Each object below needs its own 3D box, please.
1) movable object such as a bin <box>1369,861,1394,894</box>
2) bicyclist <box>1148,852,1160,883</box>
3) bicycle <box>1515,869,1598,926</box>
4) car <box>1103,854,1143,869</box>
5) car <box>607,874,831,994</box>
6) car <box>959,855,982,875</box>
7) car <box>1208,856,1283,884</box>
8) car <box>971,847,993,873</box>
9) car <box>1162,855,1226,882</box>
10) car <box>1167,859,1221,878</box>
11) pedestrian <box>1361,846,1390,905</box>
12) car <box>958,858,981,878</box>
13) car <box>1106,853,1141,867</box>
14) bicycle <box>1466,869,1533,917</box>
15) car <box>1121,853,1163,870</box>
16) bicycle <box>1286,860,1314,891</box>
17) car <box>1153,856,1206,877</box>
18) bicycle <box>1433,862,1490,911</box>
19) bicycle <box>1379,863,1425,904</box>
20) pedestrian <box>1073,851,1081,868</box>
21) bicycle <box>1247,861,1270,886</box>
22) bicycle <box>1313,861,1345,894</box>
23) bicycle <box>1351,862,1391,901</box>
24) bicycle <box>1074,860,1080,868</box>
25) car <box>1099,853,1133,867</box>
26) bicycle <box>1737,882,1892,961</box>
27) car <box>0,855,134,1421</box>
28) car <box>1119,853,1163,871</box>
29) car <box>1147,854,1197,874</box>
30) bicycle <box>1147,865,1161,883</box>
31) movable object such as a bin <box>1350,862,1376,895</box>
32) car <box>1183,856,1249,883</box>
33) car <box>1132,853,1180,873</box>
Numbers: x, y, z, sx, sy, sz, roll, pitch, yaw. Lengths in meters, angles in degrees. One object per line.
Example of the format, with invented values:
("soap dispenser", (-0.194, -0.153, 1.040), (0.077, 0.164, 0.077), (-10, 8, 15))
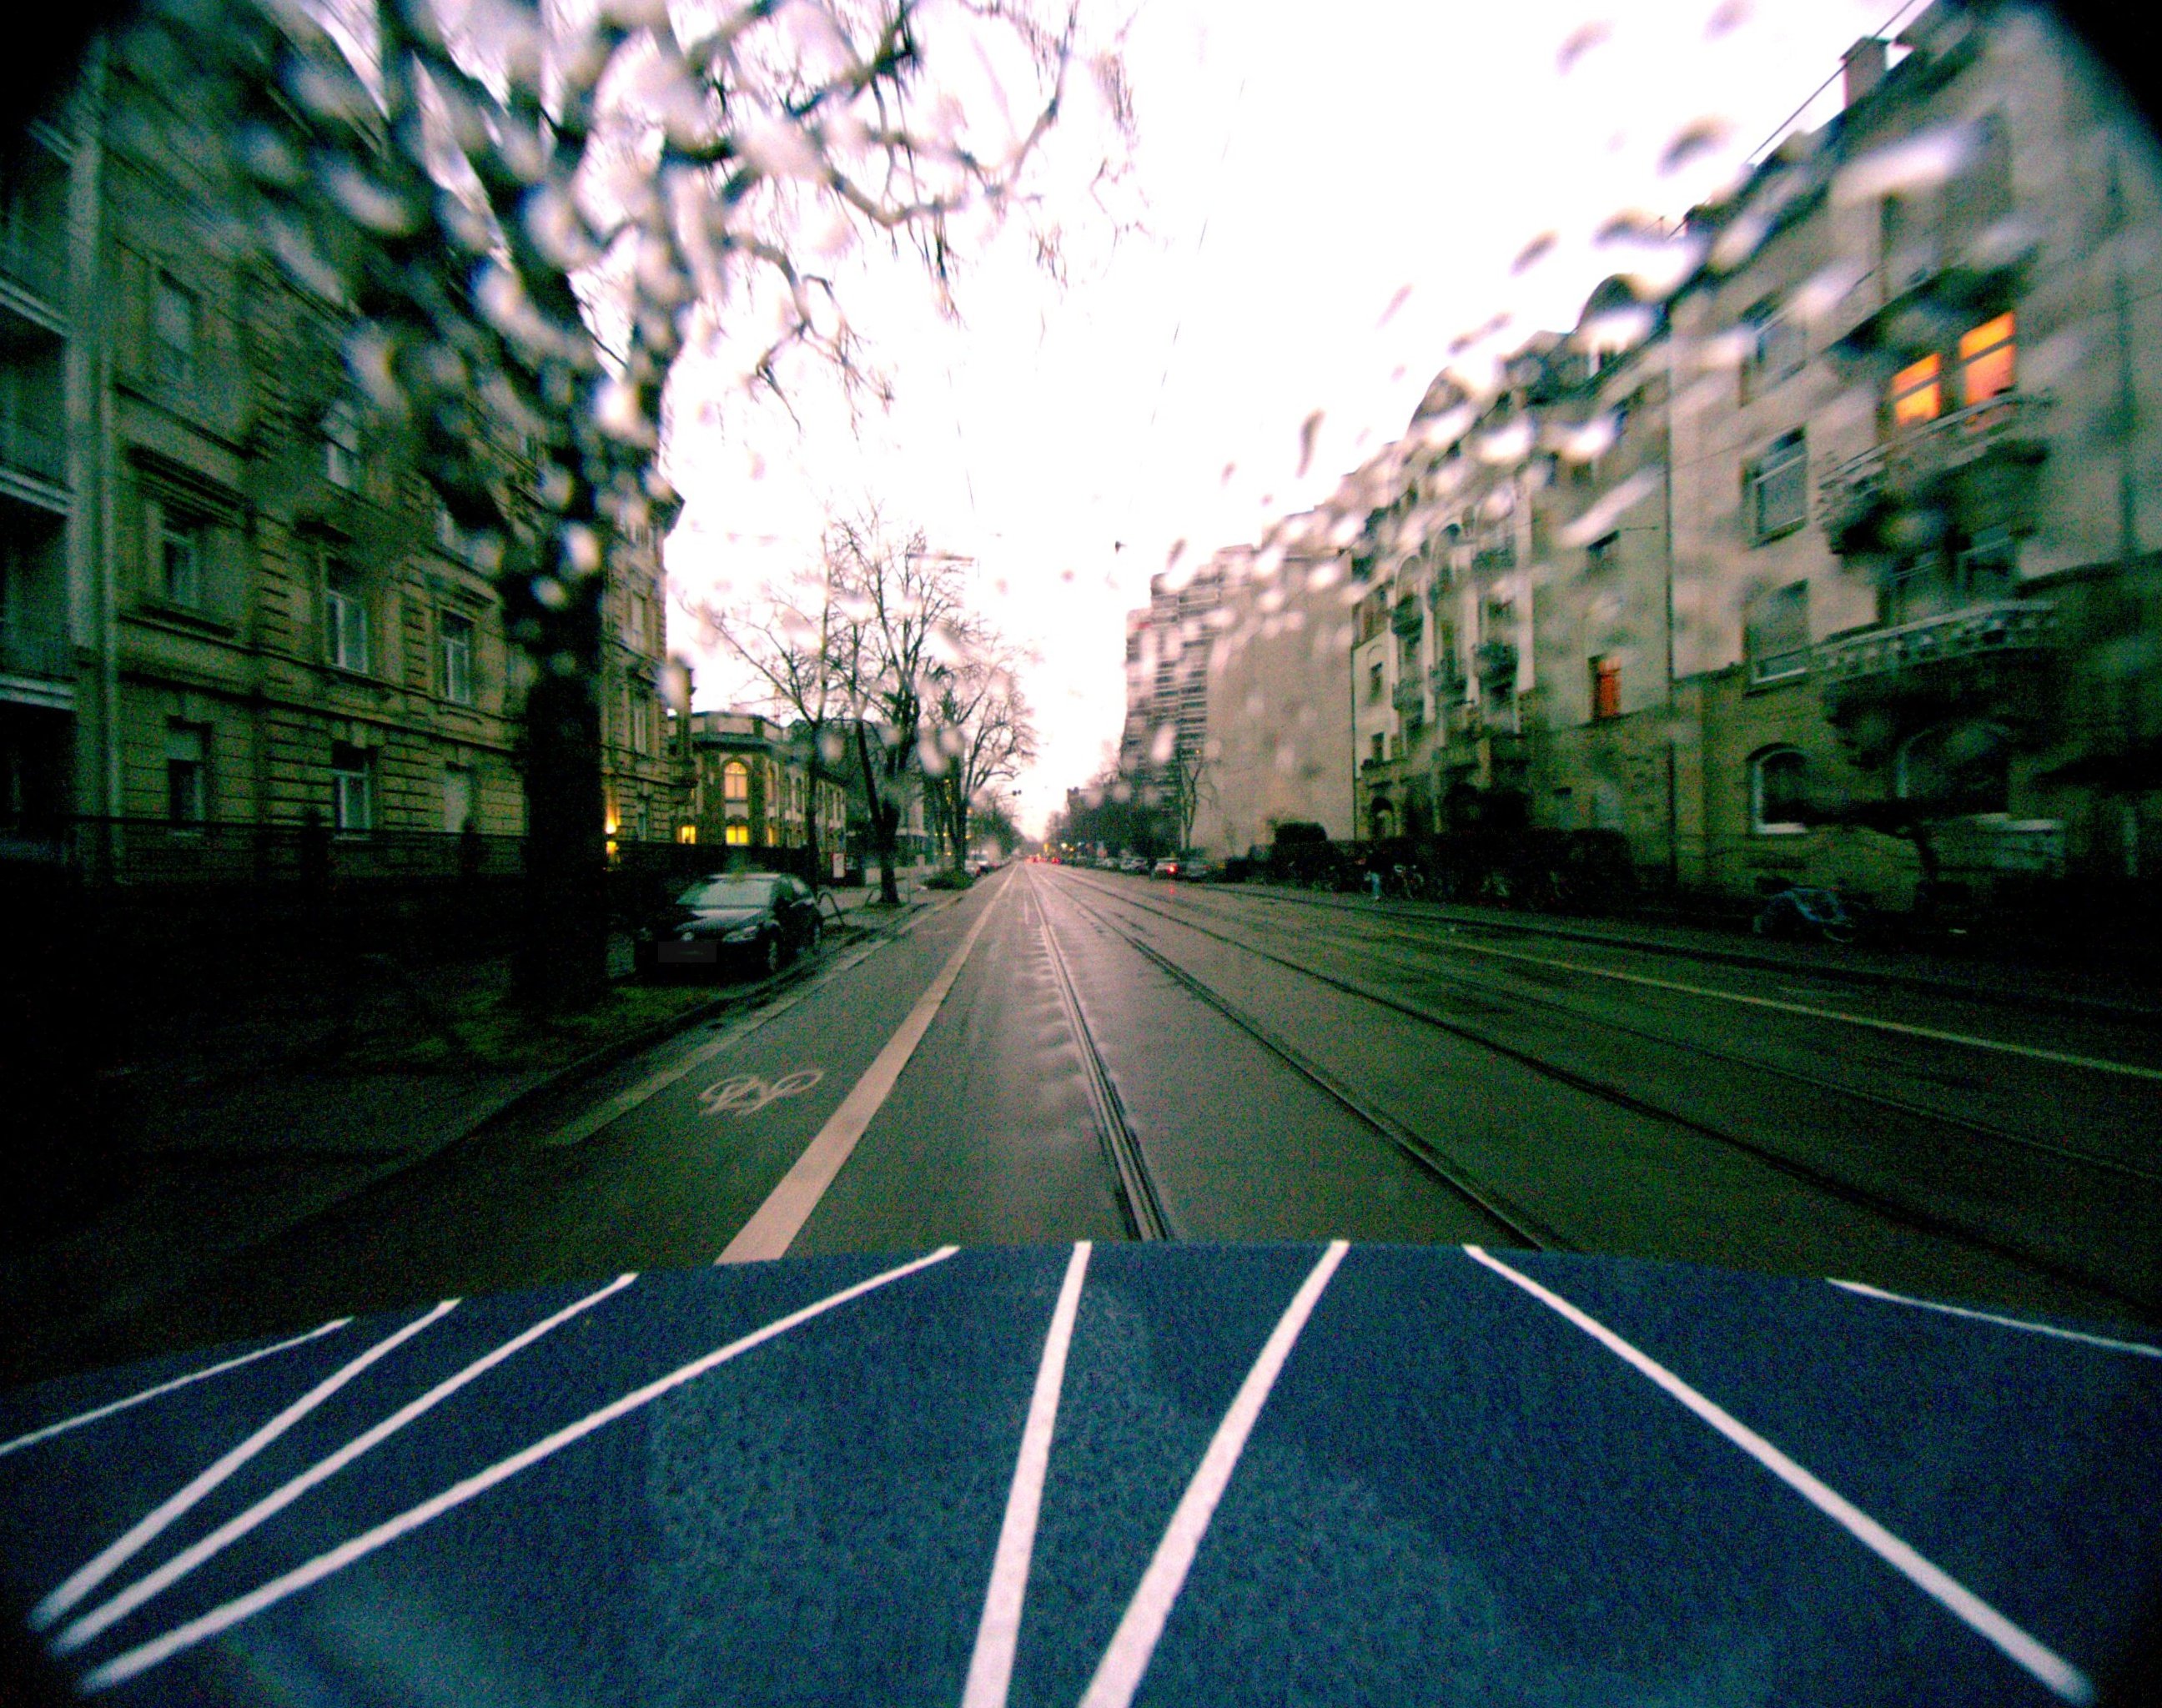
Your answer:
("movable object such as a bin", (10.835, 0.848, 27.381), (0.625, 1.157, 0.674), (-1, 0, -2))
("bicyclist", (4.461, 0.807, 46.405), (0.625, 1.865, 0.991), (-1, 0, -2))
("bicycle", (10.178, 0.907, 16.352), (0.625, 1.119, 1.783), (-1, 0, -2))
("car", (4.438, 0.785, 80.523), (4.008, 1.586, 1.864), (-1, 0, -41))
("car", (-5.253, 1.070, 11.705), (1.763, 1.437, 4.156), (1, -1, -5))
("car", (-10.045, 0.986, 69.393), (2.000, 1.672, 3.997), (-2, 1, -7))
("car", (9.408, 0.896, 43.426), (4.007, 1.485, 1.864), (-1, 0, -33))
("car", (-10.329, 0.600, 79.317), (2.094, 2.622, 5.445), (-2, 1, -7))
("car", (7.314, 0.892, 48.870), (4.008, 1.586, 1.864), (-1, 0, -41))
("car", (7.817, 0.964, 52.272), (3.674, 1.245, 1.707), (0, 0, -42))
("pedestrian", (8.740, 0.633, 22.571), (0.574, 1.715, 0.644), (-2, 2, 0))
("car", (-8.678, 1.082, 59.427), (1.629, 1.399, 3.997), (-2, 1, -7))
("car", (5.116, 0.730, 91.961), (4.008, 1.586, 1.864), (-1, 0, -41))
("bicycle", (10.115, 0.924, 18.413), (0.625, 1.059, 1.726), (-1, 0, -2))
("car", (6.081, 0.707, 75.492), (4.008, 1.586, 1.864), (-1, 0, -41))
("bicycle", (9.005, 0.876, 31.266), (0.625, 1.205, 1.662), (-1, 0, -2))
("car", (7.666, 0.961, 59.072), (4.008, 1.440, 1.864), (-1, 0, -41))
("bicycle", (10.071, 0.833, 20.167), (0.625, 1.205, 1.662), (-1, 0, -2))
("bicycle", (9.646, 0.859, 22.868), (0.625, 1.157, 1.662), (-1, 0, -2))
("pedestrian", (-0.544, 0.784, 106.836), (0.952, 2.246, 1.119), (-1, 1, 1))
("bicycle", (8.512, 0.909, 36.487), (0.625, 1.157, 1.662), (-2, 0, -2))
("bicycle", (9.363, 0.870, 28.770), (0.625, 1.205, 1.662), (-1, 0, -2))
("bicycle", (9.513, 0.880, 24.955), (0.625, 1.205, 1.662), (-1, 0, -2))
("bicycle", (-0.528, 1.394, 106.850), (0.858, 0.986, 1.918), (-2, 1, 0))
("car", (4.366, 0.727, 94.145), (4.008, 1.586, 1.864), (-1, 0, -41))
("bicycle", (10.606, 0.936, 11.068), (0.625, 0.997, 1.662), (-1, 0, -2))
("car", (-4.427, 0.934, 0.313), (2.036, 1.864, 4.961), (0, 0, -4))
("car", (5.739, 0.740, 72.208), (4.008, 1.586, 1.864), (-1, 0, -41))
("car", (7.536, 0.804, 62.907), (4.008, 1.586, 1.864), (-1, 0, -41))
("bicycle", (4.457, 1.210, 46.448), (0.625, 1.086, 1.947), (-1, 0, -2))
("movable object such as a bin", (10.142, 0.866, 27.335), (0.659, 1.157, 0.674), (-1, 0, -2))
("car", (8.137, 0.895, 45.747), (4.008, 1.477, 1.760), (-1, 0, -41))
("car", (6.485, 0.753, 65.815), (4.008, 1.586, 1.864), (-1, 0, -41))
